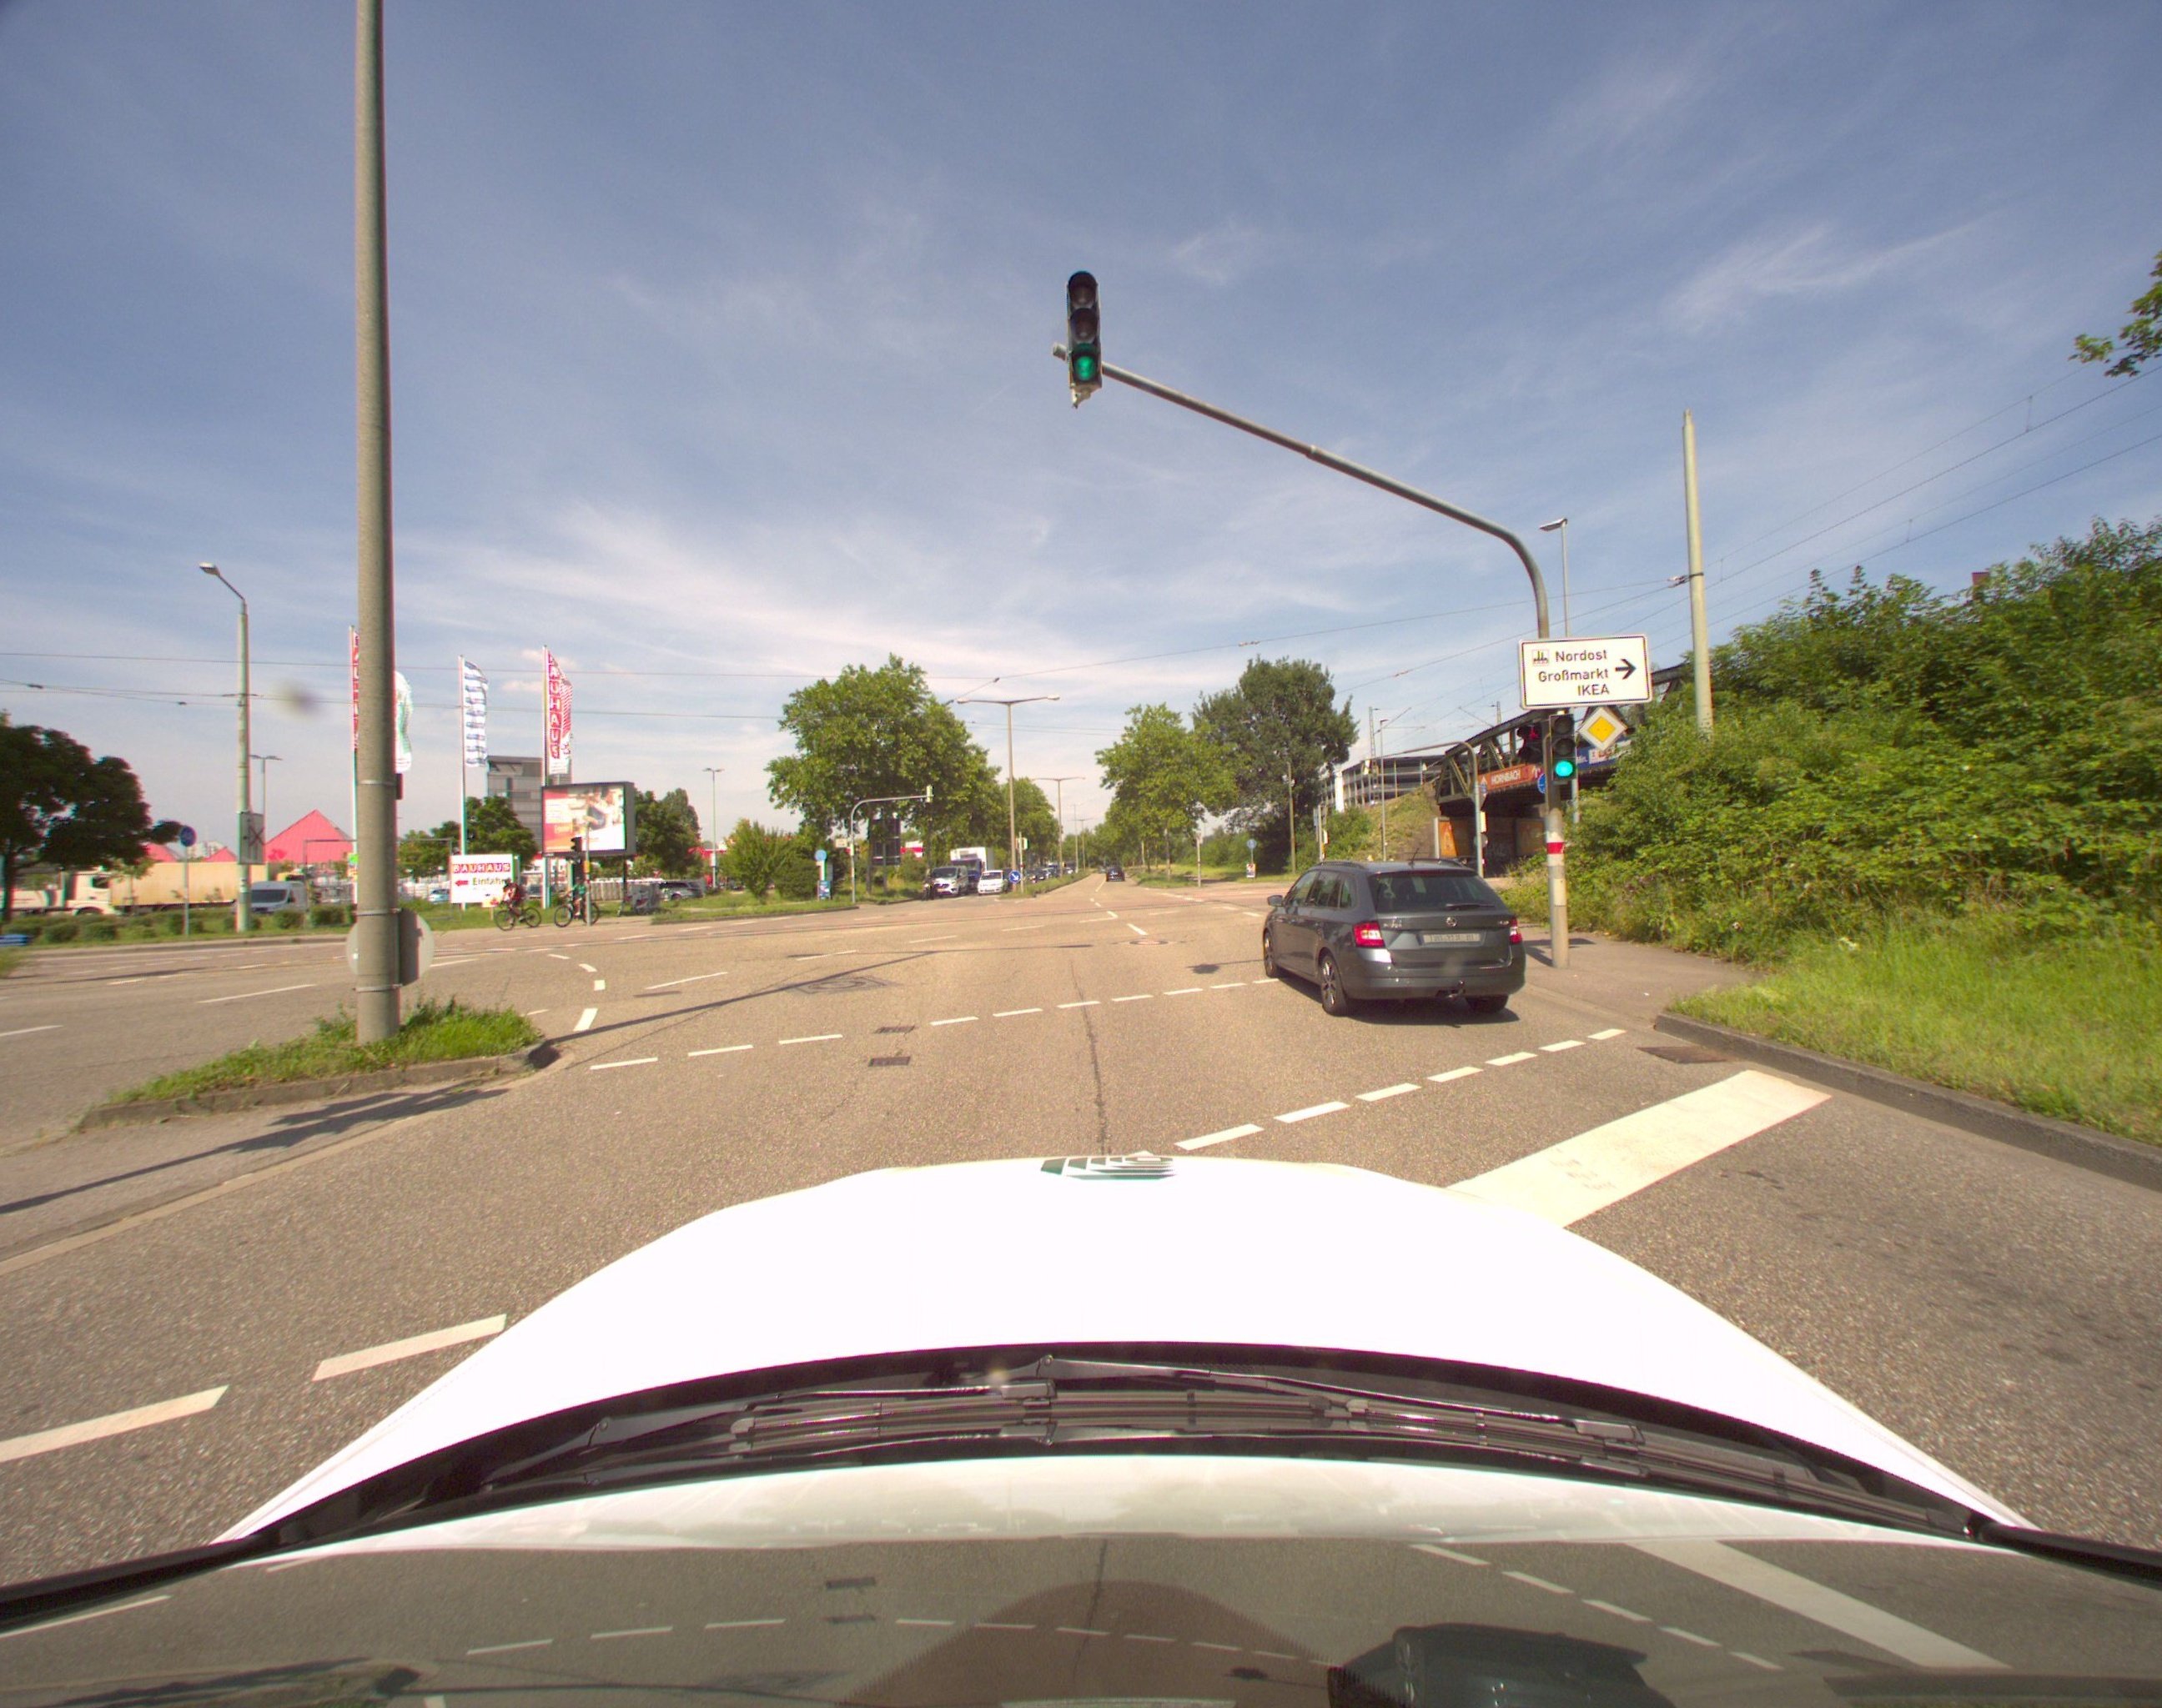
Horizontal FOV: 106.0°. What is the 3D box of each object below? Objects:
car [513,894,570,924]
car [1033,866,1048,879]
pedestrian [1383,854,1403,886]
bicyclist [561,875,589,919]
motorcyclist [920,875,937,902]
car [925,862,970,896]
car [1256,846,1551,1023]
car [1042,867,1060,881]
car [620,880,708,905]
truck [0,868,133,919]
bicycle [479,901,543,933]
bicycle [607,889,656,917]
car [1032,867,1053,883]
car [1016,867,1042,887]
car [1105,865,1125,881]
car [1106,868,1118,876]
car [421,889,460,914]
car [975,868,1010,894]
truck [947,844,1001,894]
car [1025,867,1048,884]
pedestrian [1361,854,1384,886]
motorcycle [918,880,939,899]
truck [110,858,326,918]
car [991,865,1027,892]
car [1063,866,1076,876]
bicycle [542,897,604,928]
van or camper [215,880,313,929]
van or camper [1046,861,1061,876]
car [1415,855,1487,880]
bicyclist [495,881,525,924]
[{"bbox_3d":[-31.337,3.142,47.271,2.212,1.572,4.522,-1,-1,-41],"label":"car"},{"bbox_3d":[-5.826,2.668,117.140,1.682,1.858,4.038,-3,-1,2],"label":"car"},{"bbox_3d":[16.021,0.809,41.832,0.726,1.579,0.778,-2,-1,2],"label":"pedestrian"},{"bbox_3d":[-17.666,1.509,28.424,0.523,1.491,0.612,-2,-1,17],"label":"bicyclist"},{"bbox_3d":[-8.720,1.980,46.573,0.740,1.470,0.988,-2,-1,2],"label":"motorcyclist"},{"bbox_3d":[-8.391,1.542,51.569,1.970,1.999,5.030,-2,-1,0],"label":"car"},{"bbox_3d":[3.112,0.692,8.795,1.668,1.453,4.037,-1,-1,1],"label":"car"},{"bbox_3d":[-3.483,2.347,95.773,1.778,1.489,4.212,-3,-1,1],"label":"car"},{"bbox_3d":[-27.373,2.507,53.594,4.555,1.414,2.196,-2,-1,-5],"label":"car"},{"bbox_3d":[-64.649,2.440,48.853,9.654,2.892,2.895,-1,-1,-35],"label":"truck"},{"bbox_3d":[-19.000,2.083,27.204,0.430,0.937,1.761,-2,-1,24],"label":"bicycle"},{"bbox_3d":[-18.546,2.014,33.637,0.589,1.037,1.903,-2,-1,16],"label":"bicycle"},{"bbox_3d":[-3.922,2.159,83.081,1.682,1.472,3.816,-3,-1,2],"label":"car"},{"bbox_3d":[-4.419,1.925,70.092,1.682,1.586,4.242,-3,-1,2],"label":"car"},{"bbox_3d":[3.361,1.892,80.838,1.901,1.463,4.622,-2,-1,1],"label":"car"},{"bbox_3d":[5.881,3.409,154.206,1.902,1.463,4.580,-2,0,-1],"label":"car"},{"bbox_3d":[-45.407,3.329,57.773,1.829,1.572,4.234,-1,-1,-34],"label":"car"},{"bbox_3d":[-5.472,1.651,50.859,1.586,1.477,3.731,-3,-1,2],"label":"car"},{"bbox_3d":[-8.038,1.089,61.992,2.793,3.471,6.694,-4,-1,2],"label":"truck"},{"bbox_3d":[-4.172,2.050,77.448,1.682,1.473,4.220,-4,-1,2],"label":"car"},{"bbox_3d":[14.950,0.833,41.731,0.864,1.612,0.778,-2,-1,1],"label":"pedestrian"},{"bbox_3d":[-8.690,2.035,46.477,0.685,0.991,2.218,-2,-1,2],"label":"motorcycle"},{"bbox_3d":[-54.674,2.072,52.069,8.963,3.311,3.126,-1,-1,-35],"label":"truck"},{"bbox_3d":[-4.984,1.702,56.641,1.813,1.647,4.696,-3,-2,2],"label":"car"},{"bbox_3d":[-1.809,2.729,129.885,1.682,1.510,3.816,-3,-1,2],"label":"car"},{"bbox_3d":[-17.668,2.029,28.368,0.412,0.937,2.007,-2,-1,19],"label":"bicycle"},{"bbox_3d":[-40.742,2.458,40.769,2.204,2.210,5.463,-1,-1,-32],"label":"van or camper"},{"bbox_3d":[-4.841,2.546,144.240,2.007,2.588,5.519,-3,-1,2],"label":"van or camper"},{"bbox_3d":[22.886,0.836,50.337,4.519,1.409,1.979,-1,-1,-34],"label":"car"},{"bbox_3d":[-19.068,1.622,27.198,0.523,1.414,0.613,-2,-1,25],"label":"bicyclist"}]
